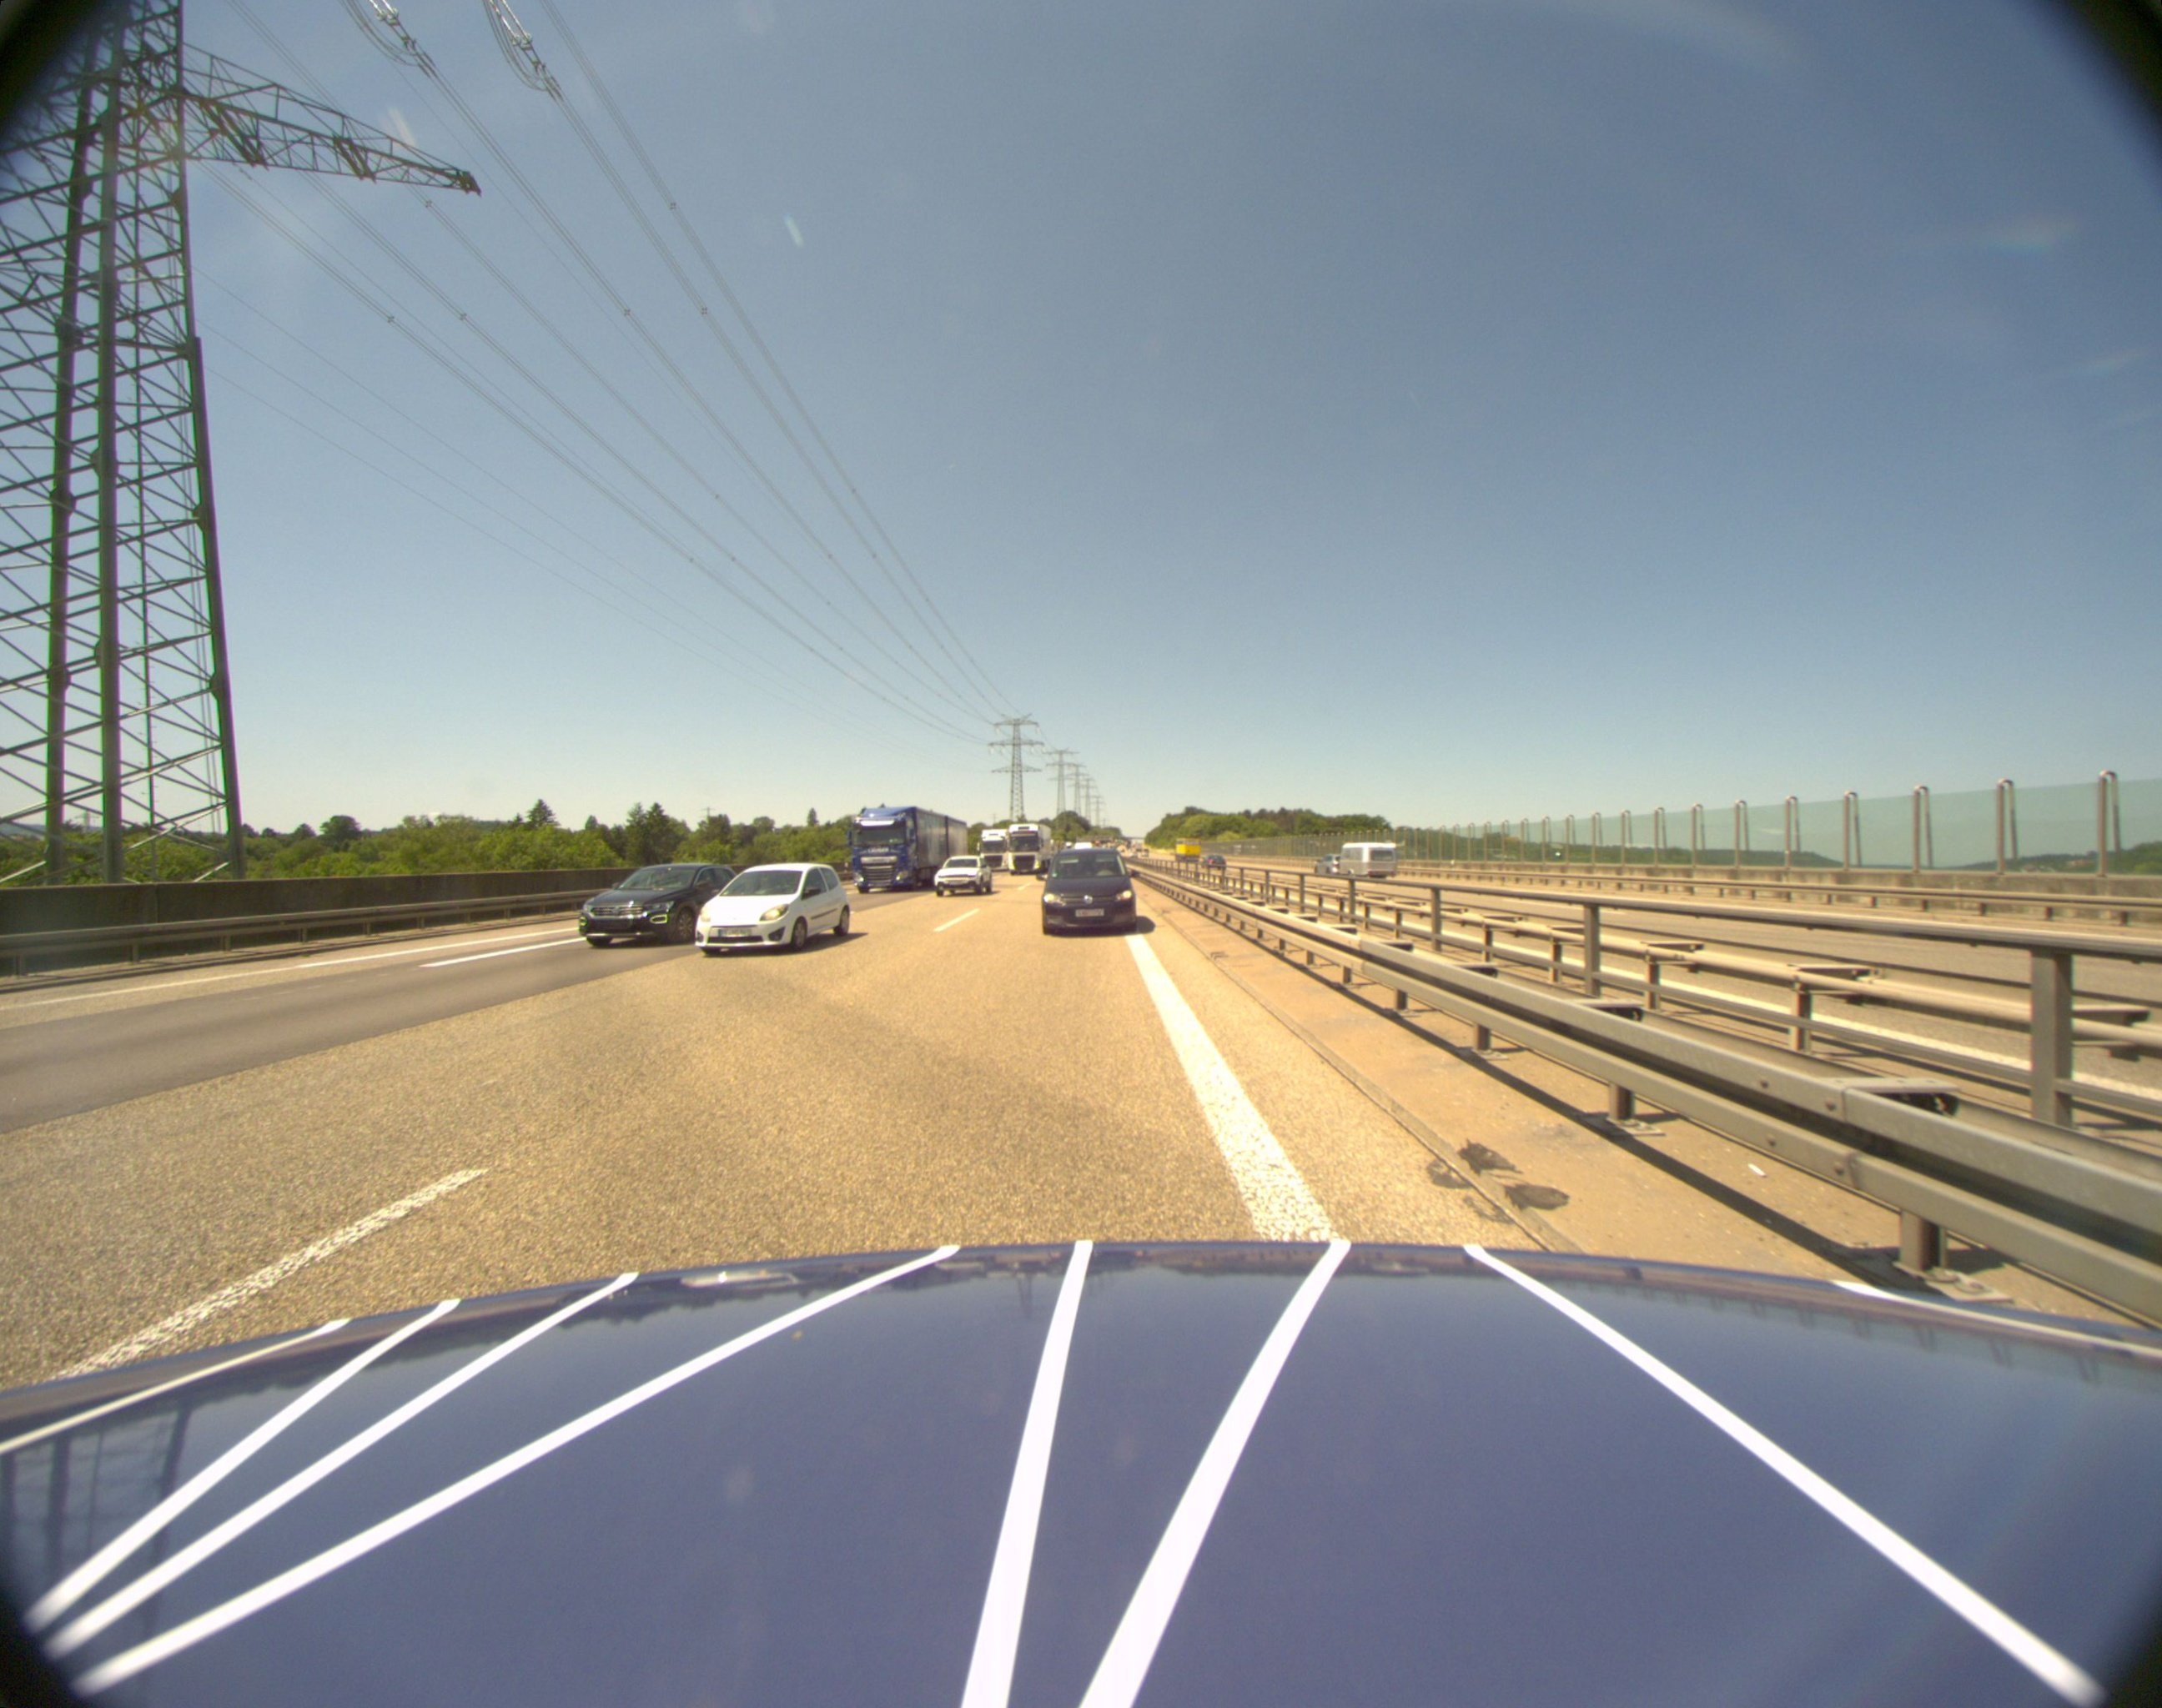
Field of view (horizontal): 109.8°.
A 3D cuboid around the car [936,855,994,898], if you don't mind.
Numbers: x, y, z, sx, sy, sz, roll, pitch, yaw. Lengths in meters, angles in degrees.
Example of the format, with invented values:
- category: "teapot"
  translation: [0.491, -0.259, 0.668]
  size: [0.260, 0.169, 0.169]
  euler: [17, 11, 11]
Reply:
- category: "car"
  translation: [-4.573, 0.842, 30.453]
  size: [1.722, 1.526, 3.753]
  euler: [-2, 0, 0]

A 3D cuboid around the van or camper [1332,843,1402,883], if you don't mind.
- category: "van or camper"
  translation: [16.936, 0.460, 45.319]
  size: [1.999, 2.199, 5.536]
  euler: [1, 1, 0]

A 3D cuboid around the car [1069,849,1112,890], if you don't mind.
- category: "car"
  translation: [0.392, 0.601, 32.412]
  size: [1.685, 1.607, 3.642]
  euler: [-2, 0, 0]

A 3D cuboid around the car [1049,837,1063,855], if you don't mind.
- category: "car"
  translation: [-4.807, -1.608, 146.368]
  size: [2.273, 3.304, 6.288]
  euler: [-2, 1, 0]

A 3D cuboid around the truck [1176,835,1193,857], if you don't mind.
- category: "truck"
  translation: [18.944, -1.489, 139.631]
  size: [2.420, 4.035, 5.542]
  euler: [0, 1, 1]

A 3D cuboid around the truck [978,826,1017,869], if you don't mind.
- category: "truck"
  translation: [-7.997, -0.666, 73.785]
  size: [2.914, 3.870, 6.739]
  euler: [-2, 1, 0]

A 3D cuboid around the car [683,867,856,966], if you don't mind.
- category: "car"
  translation: [-5.455, 1.014, 13.815]
  size: [1.583, 1.432, 3.629]
  euler: [-2, 0, 1]

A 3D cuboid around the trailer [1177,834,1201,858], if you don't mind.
- category: "trailer"
  translation: [18.806, -1.398, 132.728]
  size: [2.429, 4.040, 13.801]
  euler: [0, 0, 1]

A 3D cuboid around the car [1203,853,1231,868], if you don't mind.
- category: "car"
  translation: [13.093, 0.595, 73.370]
  size: [1.860, 1.389, 4.675]
  euler: [0, 0, 1]

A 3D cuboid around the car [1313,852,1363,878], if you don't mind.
- category: "car"
  translation: [16.916, 0.675, 50.237]
  size: [1.860, 1.536, 4.200]
  euler: [1, 1, 0]

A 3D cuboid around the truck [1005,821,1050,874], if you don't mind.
- category: "truck"
  translation: [-4.184, -0.551, 60.896]
  size: [2.914, 3.870, 6.739]
  euler: [-2, 1, 0]

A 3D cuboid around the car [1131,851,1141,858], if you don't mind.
- category: "car"
  translation: [12.396, 0.038, 171.478]
  size: [1.762, 1.440, 4.286]
  euler: [1, 1, 0]

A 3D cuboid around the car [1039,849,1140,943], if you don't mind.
- category: "car"
  translation: [0.148, 0.726, 15.320]
  size: [1.739, 1.607, 3.911]
  euler: [-2, 0, 0]

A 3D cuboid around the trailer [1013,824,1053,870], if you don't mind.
- category: "trailer"
  translation: [-4.205, -0.670, 69.174]
  size: [2.898, 3.847, 9.772]
  euler: [-2, 1, 0]

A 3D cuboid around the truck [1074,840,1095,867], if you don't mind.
- category: "truck"
  translation: [0.387, -0.079, 81.064]
  size: [2.100, 2.700, 5.864]
  euler: [-2, 1, 1]

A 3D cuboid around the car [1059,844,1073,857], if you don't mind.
- category: "car"
  translation: [-2.315, -0.611, 121.225]
  size: [1.998, 2.002, 3.999]
  euler: [-2, 1, 1]

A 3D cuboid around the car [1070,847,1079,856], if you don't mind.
- category: "car"
  translation: [-1.369, -0.563, 153.205]
  size: [1.701, 1.599, 3.639]
  euler: [-2, 1, 1]

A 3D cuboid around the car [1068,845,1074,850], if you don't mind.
- category: "car"
  translation: [-3.013, -2.001, 234.872]
  size: [1.701, 1.599, 3.639]
  euler: [-2, 1, 1]

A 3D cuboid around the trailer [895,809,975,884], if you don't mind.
- category: "trailer"
  translation: [-8.666, -0.499, 46.638]
  size: [2.543, 3.971, 10.883]
  euler: [-2, 1, 1]

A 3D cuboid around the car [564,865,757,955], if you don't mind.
- category: "car"
  translation: [-8.369, 1.031, 15.576]
  size: [1.709, 1.497, 3.888]
  euler: [-2, 0, 1]

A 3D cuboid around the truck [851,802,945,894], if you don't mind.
- category: "truck"
  translation: [-8.729, -0.291, 37.232]
  size: [2.517, 3.945, 7.926]
  euler: [-2, 0, 0]

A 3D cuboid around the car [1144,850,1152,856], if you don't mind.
- category: "car"
  translation: [16.962, -0.200, 192.815]
  size: [1.767, 1.374, 4.078]
  euler: [0, 0, 0]
